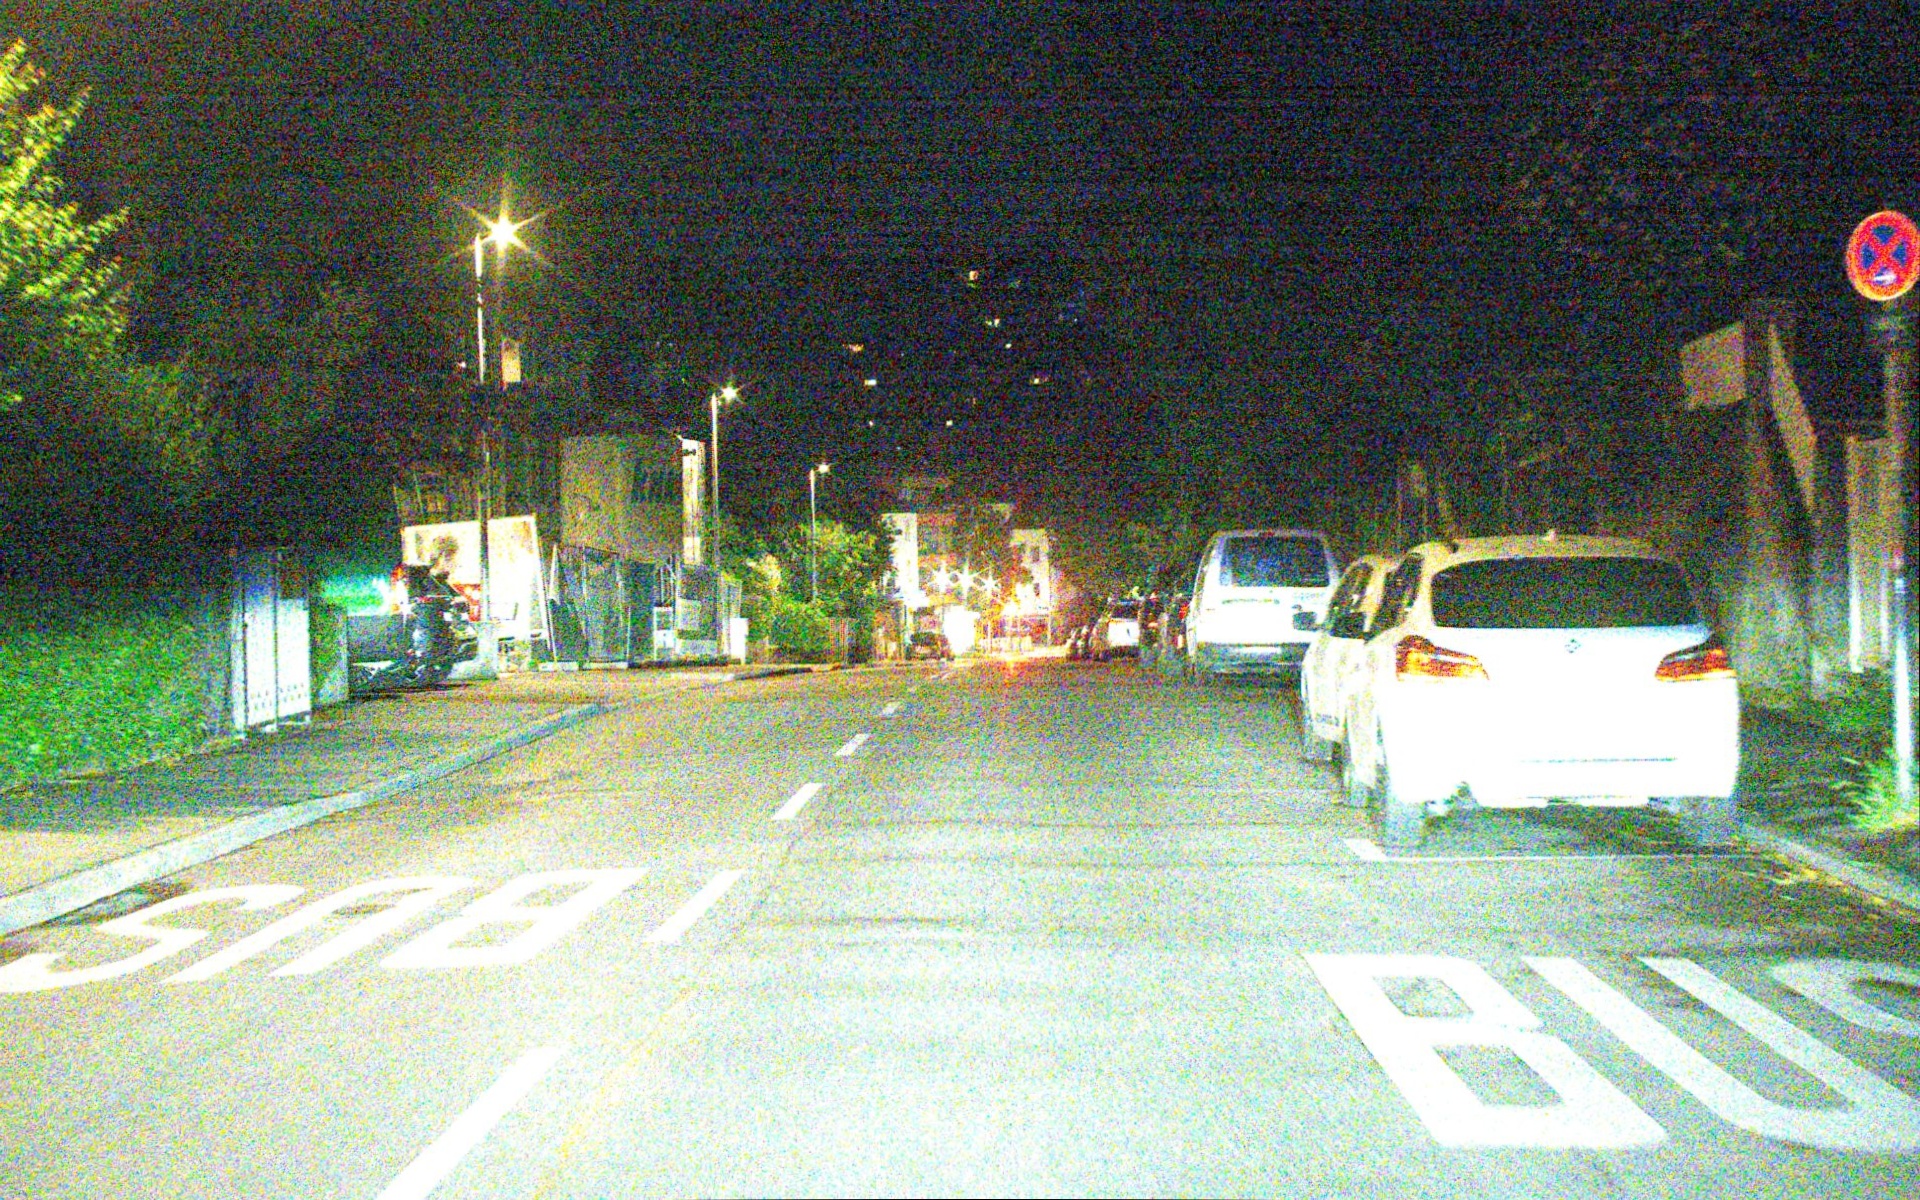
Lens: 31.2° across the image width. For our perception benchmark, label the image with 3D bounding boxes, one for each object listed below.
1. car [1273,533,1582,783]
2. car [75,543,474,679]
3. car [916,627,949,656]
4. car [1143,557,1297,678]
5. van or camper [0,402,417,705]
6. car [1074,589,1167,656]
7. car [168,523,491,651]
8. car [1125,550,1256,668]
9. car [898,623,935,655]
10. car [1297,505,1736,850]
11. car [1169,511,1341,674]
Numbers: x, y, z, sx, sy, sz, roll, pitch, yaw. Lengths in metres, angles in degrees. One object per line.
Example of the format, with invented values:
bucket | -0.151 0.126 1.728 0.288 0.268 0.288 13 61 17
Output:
car | 3.072 0.325 23.202 1.609 1.456 3.717 -2 2 1
car | -8.307 0.152 41.948 4.417 1.608 2.065 0 -1 2
car | -1.483 2.270 188.312 1.753 1.534 3.730 1 -1 0
car | 3.427 0.224 45.966 1.744 1.466 4.256 3 0 1
van or camper | -8.841 -0.509 38.213 5.397 3.100 2.133 -2 1 -8
car | 3.760 0.547 81.213 1.763 1.471 4.276 3 -1 -2
car | -8.171 -0.186 44.777 3.811 1.550 1.927 1 1 1
car | 3.434 0.156 51.593 1.832 1.658 4.618 1 -1 3
car | -2.166 1.947 171.206 1.753 1.534 3.731 1 -1 -2
car | 2.872 0.335 18.697 1.755 1.588 4.728 2 1 2
car | 3.413 -0.090 40.472 1.719 1.755 4.757 2 0 2
